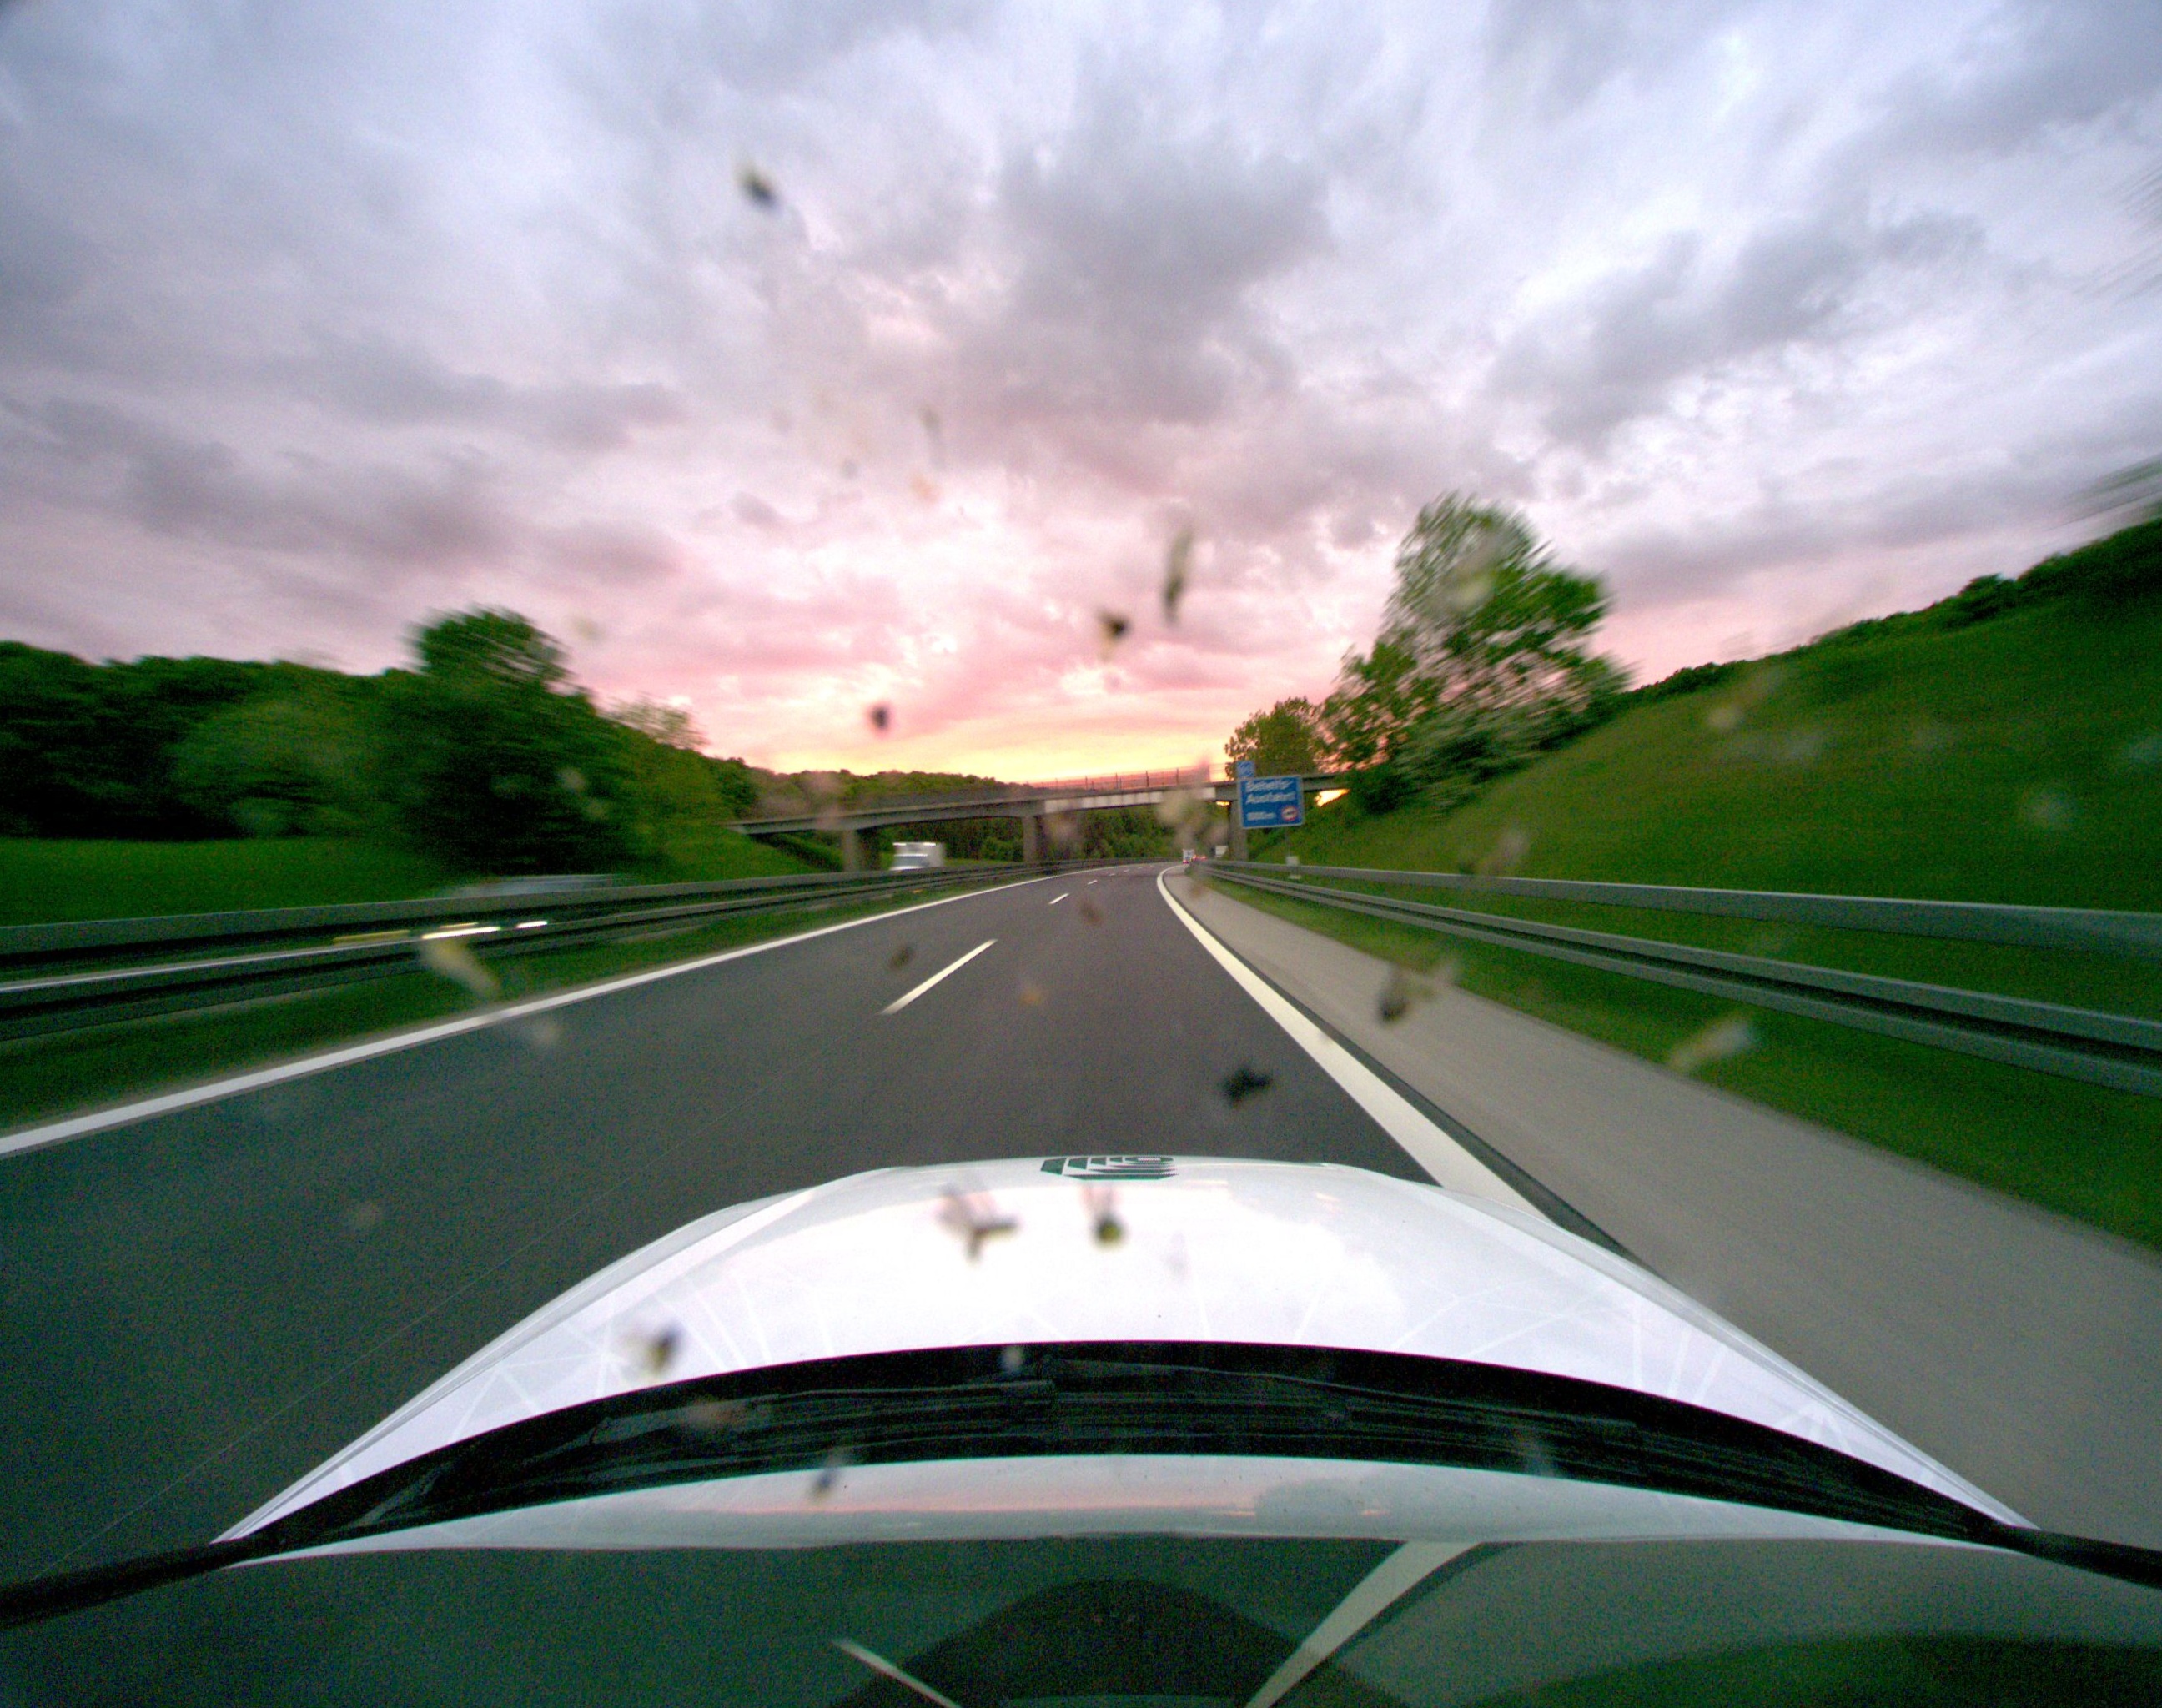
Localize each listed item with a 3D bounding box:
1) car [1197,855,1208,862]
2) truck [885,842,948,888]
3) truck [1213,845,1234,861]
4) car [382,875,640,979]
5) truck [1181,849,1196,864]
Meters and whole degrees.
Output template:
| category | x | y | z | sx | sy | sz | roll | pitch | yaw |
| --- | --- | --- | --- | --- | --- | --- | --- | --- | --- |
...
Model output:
| category | x | y | z | sx | sy | sz | roll | pitch | yaw |
| --- | --- | --- | --- | --- | --- | --- | --- | --- | --- |
| car | 31.738 | 1.175 | 212.302 | 1.977 | 1.517 | 4.020 | -2 | 0 | 19 |
| truck | -11.784 | 0.734 | 58.981 | 2.599 | 3.110 | 6.679 | -1 | 0 | 6 |
| truck | 38.695 | -0.276 | 220.838 | 3.927 | 4.287 | 14.385 | -2 | 0 | 16 |
| car | -11.376 | 1.350 | 16.764 | 1.767 | 1.714 | 4.643 | -1 | 0 | 4 |
| truck | 21.048 | 0.525 | 159.168 | 2.261 | 2.665 | 5.253 | -3 | 1 | 12 |
